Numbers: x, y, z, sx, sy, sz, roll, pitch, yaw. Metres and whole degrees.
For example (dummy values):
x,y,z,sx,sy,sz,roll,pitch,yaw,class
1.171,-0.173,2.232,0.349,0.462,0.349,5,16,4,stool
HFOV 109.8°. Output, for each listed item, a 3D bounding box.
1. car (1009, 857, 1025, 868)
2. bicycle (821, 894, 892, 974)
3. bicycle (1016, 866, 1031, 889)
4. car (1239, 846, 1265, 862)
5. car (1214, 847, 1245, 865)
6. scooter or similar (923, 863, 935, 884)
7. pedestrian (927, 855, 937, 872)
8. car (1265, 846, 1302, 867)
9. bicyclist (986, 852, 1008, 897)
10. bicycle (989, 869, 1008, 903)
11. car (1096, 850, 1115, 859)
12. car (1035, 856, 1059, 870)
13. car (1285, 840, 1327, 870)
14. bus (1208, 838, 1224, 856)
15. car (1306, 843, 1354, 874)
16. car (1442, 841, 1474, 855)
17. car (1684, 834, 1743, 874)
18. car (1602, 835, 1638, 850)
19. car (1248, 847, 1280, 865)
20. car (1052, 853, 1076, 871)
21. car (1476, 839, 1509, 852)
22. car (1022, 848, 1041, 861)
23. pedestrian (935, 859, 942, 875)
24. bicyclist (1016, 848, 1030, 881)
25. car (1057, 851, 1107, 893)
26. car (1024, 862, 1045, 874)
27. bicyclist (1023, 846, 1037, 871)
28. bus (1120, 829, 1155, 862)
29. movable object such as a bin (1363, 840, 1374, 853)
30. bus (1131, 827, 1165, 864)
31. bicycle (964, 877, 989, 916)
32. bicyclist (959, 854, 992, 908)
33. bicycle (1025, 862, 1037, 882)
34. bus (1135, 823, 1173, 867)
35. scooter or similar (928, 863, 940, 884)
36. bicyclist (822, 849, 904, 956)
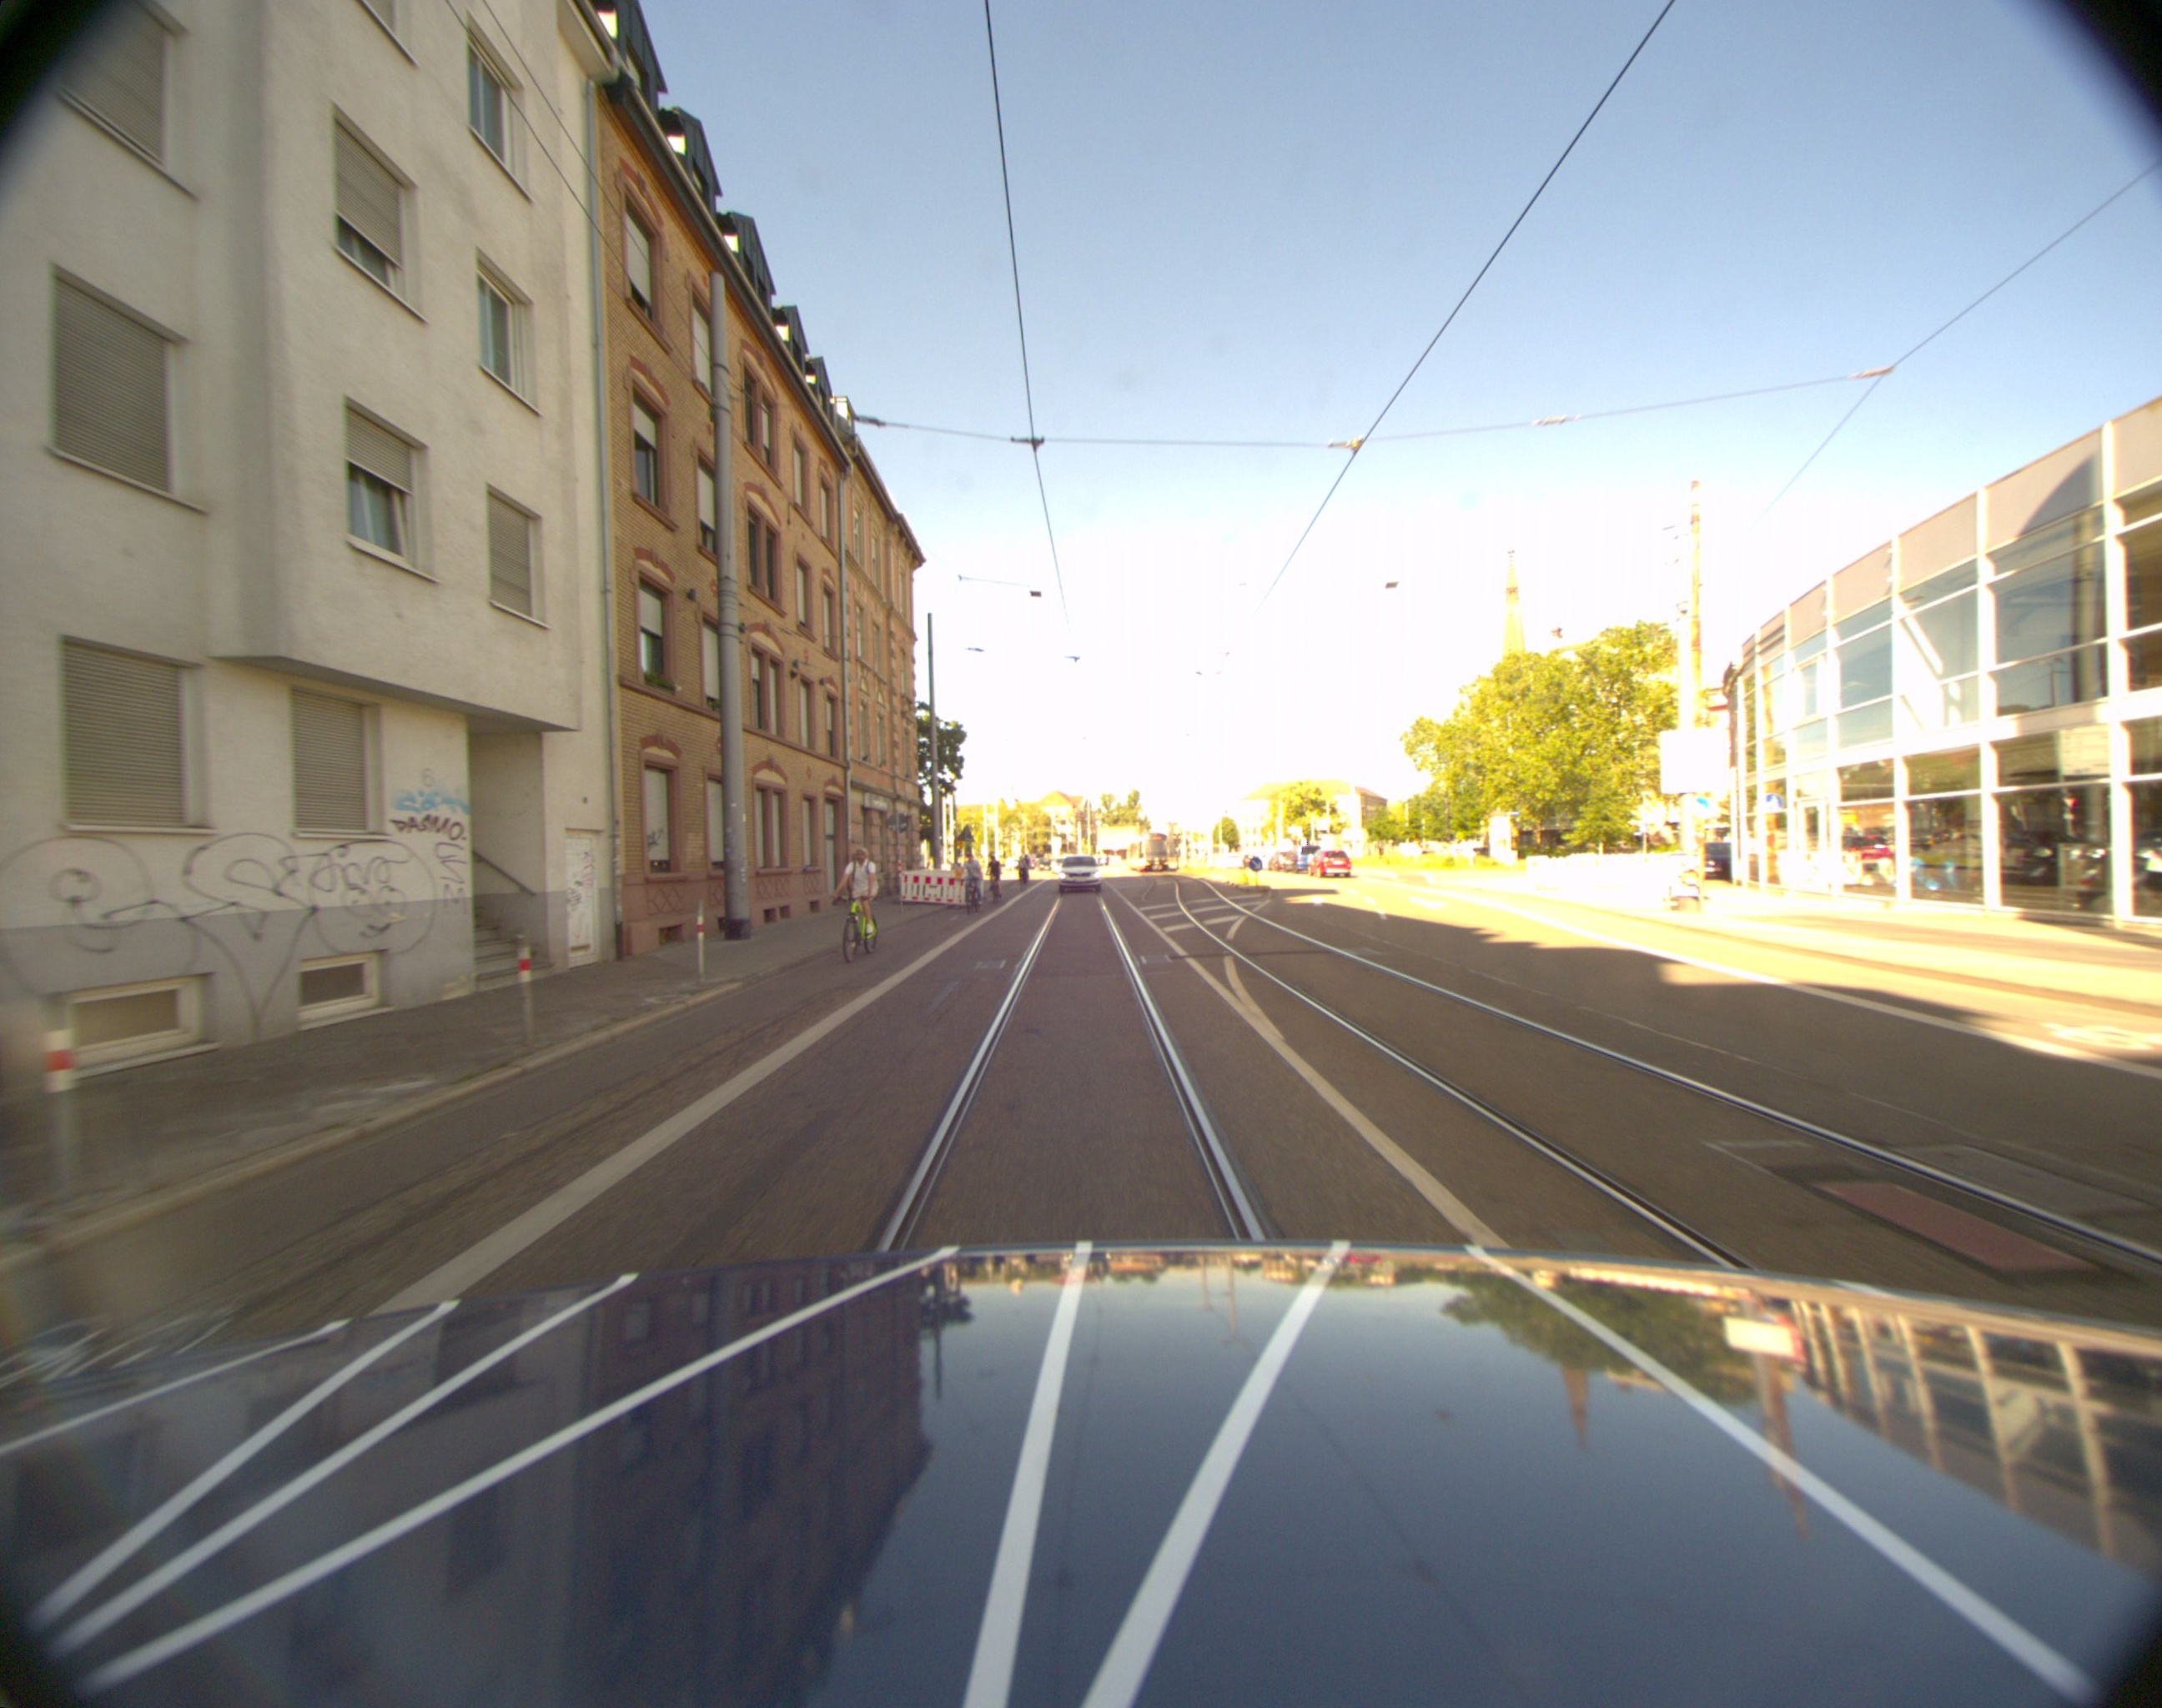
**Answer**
x,y,z,sx,sy,sz,roll,pitch,yaw,class
-10.029,1.396,119.286,1.888,1.557,4.008,-4,1,-13,car
-3.728,1.293,12.768,0.533,1.111,1.934,-4,0,0,bicycle
-2.868,1.163,38.049,0.533,1.111,1.934,-3,0,0,bicycle
15.978,0.001,71.167,1.654,1.470,3.970,-1,1,1,car
13.006,0.172,66.633,1.807,1.424,4.540,-3,1,1,car
-9.253,1.173,46.325,0.271,1.150,1.703,-3,1,1,scooter or similar
-17.459,1.147,89.247,0.933,1.918,1.048,-4,1,-3,pedestrian
15.677,0.169,58.975,1.807,1.569,4.164,-1,1,1,car
-3.138,0.741,28.286,0.625,1.604,0.980,-4,1,-12,bicyclist
-3.087,1.165,28.298,0.533,1.111,1.931,-2,1,-11,bicycle
4.231,0.110,132.294,1.915,1.449,4.593,-2,1,-16,car
-4.053,1.024,89.659,1.888,1.557,4.007,-4,1,-17,car
15.383,0.044,52.181,1.807,1.922,4.165,-1,1,3,car
28.820,-1.524,161.868,2.846,3.104,11.825,-3,2,12,bus
14.743,0.206,45.190,1.803,1.709,4.417,-1,1,6,car
54.764,-0.839,110.434,3.992,1.742,2.002,-3,1,19,car
26.340,-0.009,31.616,1.754,1.527,4.008,-3,-1,41,car
57.048,-1.240,80.348,4.007,1.490,1.995,-2,0,-38,car
15.847,0.159,65.966,1.807,1.424,3.999,-3,1,1,car
-1.681,0.772,74.399,1.887,1.621,4.009,-4,1,-7,car
50.481,-1.010,93.240,4.006,1.490,1.739,-2,0,-30,car
-11.004,0.166,168.708,2.246,2.665,5.296,-4,1,-23,car
-16.482,1.524,87.822,0.661,1.747,0.823,-4,1,-3,pedestrian
-2.915,0.519,38.226,0.551,1.604,0.953,-3,1,-1,bicyclist
0.113,0.742,34.168,1.868,1.635,4.398,-3,0,4,car
-6.415,1.891,104.887,1.888,1.557,4.007,-4,1,-17,car
-3.022,0.271,45.233,0.675,1.413,1.036,-3,1,1,bicyclist
6.671,-0.953,91.589,2.848,3.569,13.493,-2,0,-1,bus
37.279,-0.933,98.530,0.993,1.625,0.935,-4,2,-33,movable object such as a bin
6.997,-0.901,80.807,2.848,3.569,10.726,-2,0,2,bus
-3.155,1.277,23.060,0.387,1.062,1.934,-2,0,2,bicycle
-3.189,0.809,23.047,0.784,1.584,0.886,-2,1,1,bicyclist
-2.967,1.073,45.210,0.533,1.152,1.865,-3,0,-1,bicycle
6.560,-0.806,69.874,2.847,3.569,11.272,-2,0,3,bus
-8.956,1.170,46.354,0.271,1.212,1.703,-3,1,1,scooter or similar
-3.638,0.782,12.750,0.682,1.674,1.121,-3,1,20,bicyclist
